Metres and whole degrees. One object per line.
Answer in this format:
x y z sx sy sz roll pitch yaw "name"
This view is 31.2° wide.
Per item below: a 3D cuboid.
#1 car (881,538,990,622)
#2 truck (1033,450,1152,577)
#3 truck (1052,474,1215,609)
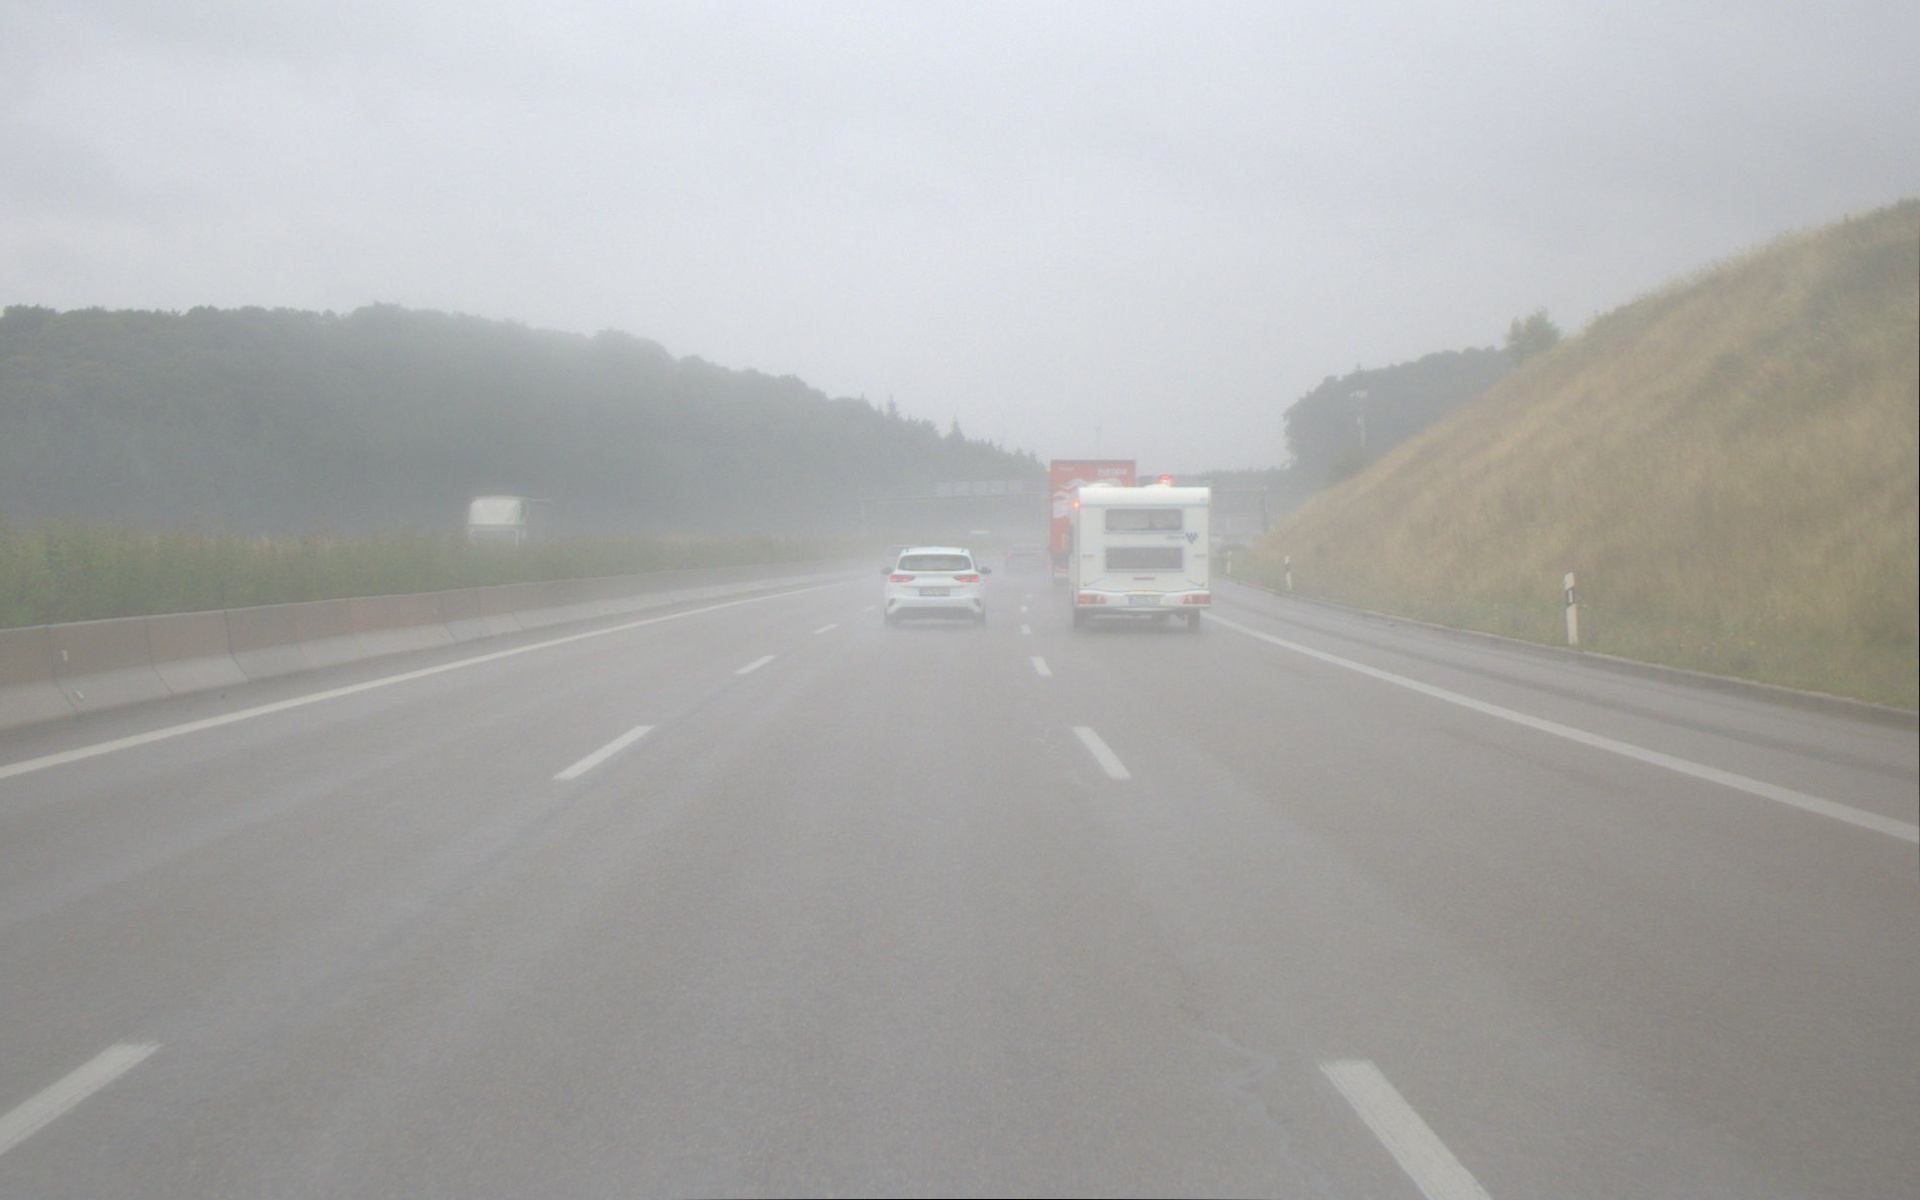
-0.467 -0.357 61.879 1.867 1.458 4.000 0 0 -2 "car"
4.212 -2.748 108.554 3.527 3.730 11.426 1 2 2 "truck"
2.965 -1.010 59.882 2.407 2.244 4.693 0 1 -2 "truck"
